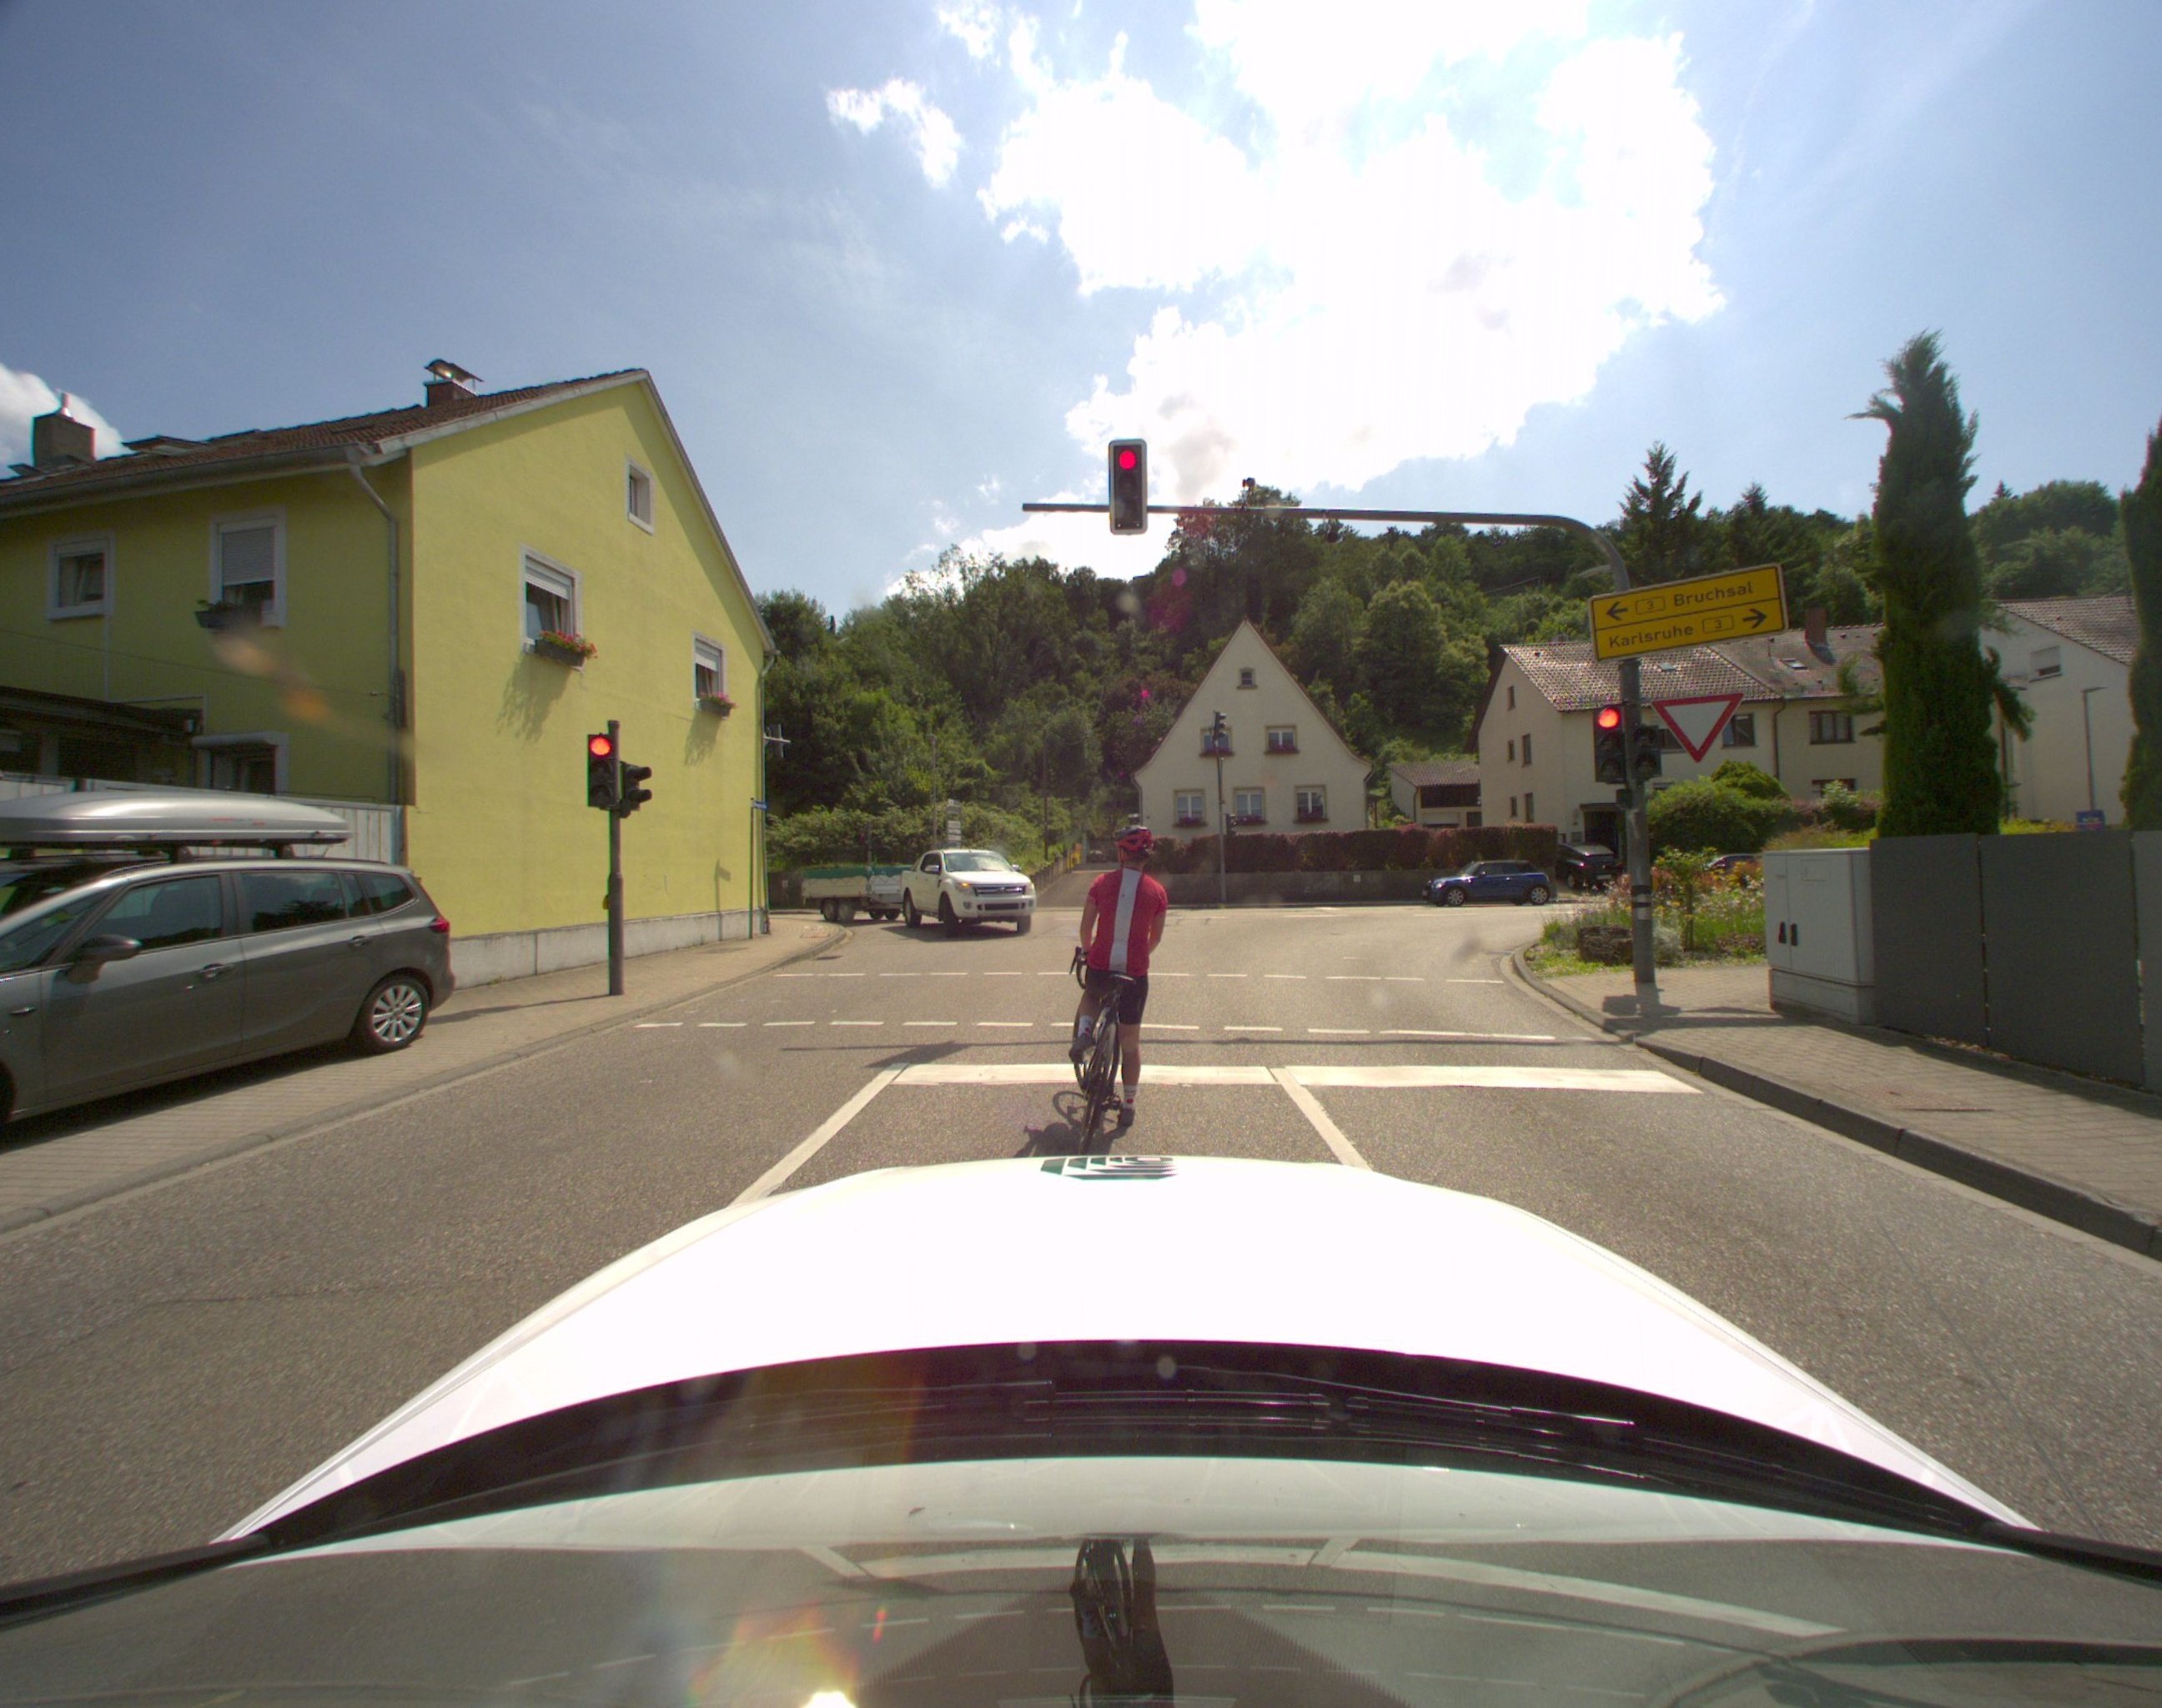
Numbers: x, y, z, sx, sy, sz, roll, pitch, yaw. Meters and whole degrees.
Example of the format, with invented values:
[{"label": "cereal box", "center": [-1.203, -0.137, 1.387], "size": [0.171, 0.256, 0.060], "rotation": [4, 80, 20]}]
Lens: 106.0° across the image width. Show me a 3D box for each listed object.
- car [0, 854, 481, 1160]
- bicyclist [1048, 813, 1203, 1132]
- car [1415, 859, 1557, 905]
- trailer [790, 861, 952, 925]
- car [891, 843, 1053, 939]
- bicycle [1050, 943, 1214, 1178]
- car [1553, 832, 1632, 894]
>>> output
[{"label": "car", "center": [-6.734, 0.821, 5.372], "size": [1.986, 1.635, 4.632], "rotation": [0, 0, 2]}, {"label": "bicyclist", "center": [0.222, 0.620, 4.742], "size": [0.760, 1.664, 0.866], "rotation": [0, -1, -8]}, {"label": "car", "center": [12.542, 0.882, 25.404], "size": [3.590, 1.363, 1.647], "rotation": [-1, -3, 6]}, {"label": "trailer", "center": [-5.806, 1.055, 22.325], "size": [4.387, 1.539, 1.991], "rotation": [-3, -1, 38]}, {"label": "car", "center": [-2.637, 0.761, 18.341], "size": [1.983, 1.775, 5.268], "rotation": [-2, 0, -26]}, {"label": "bicycle", "center": [0.212, 1.049, 4.630], "size": [0.629, 0.905, 1.653], "rotation": [0, 0, -8]}, {"label": "car", "center": [18.870, 0.286, 30.197], "size": [1.780, 1.388, 3.709], "rotation": [-1, 13, 21]}]
